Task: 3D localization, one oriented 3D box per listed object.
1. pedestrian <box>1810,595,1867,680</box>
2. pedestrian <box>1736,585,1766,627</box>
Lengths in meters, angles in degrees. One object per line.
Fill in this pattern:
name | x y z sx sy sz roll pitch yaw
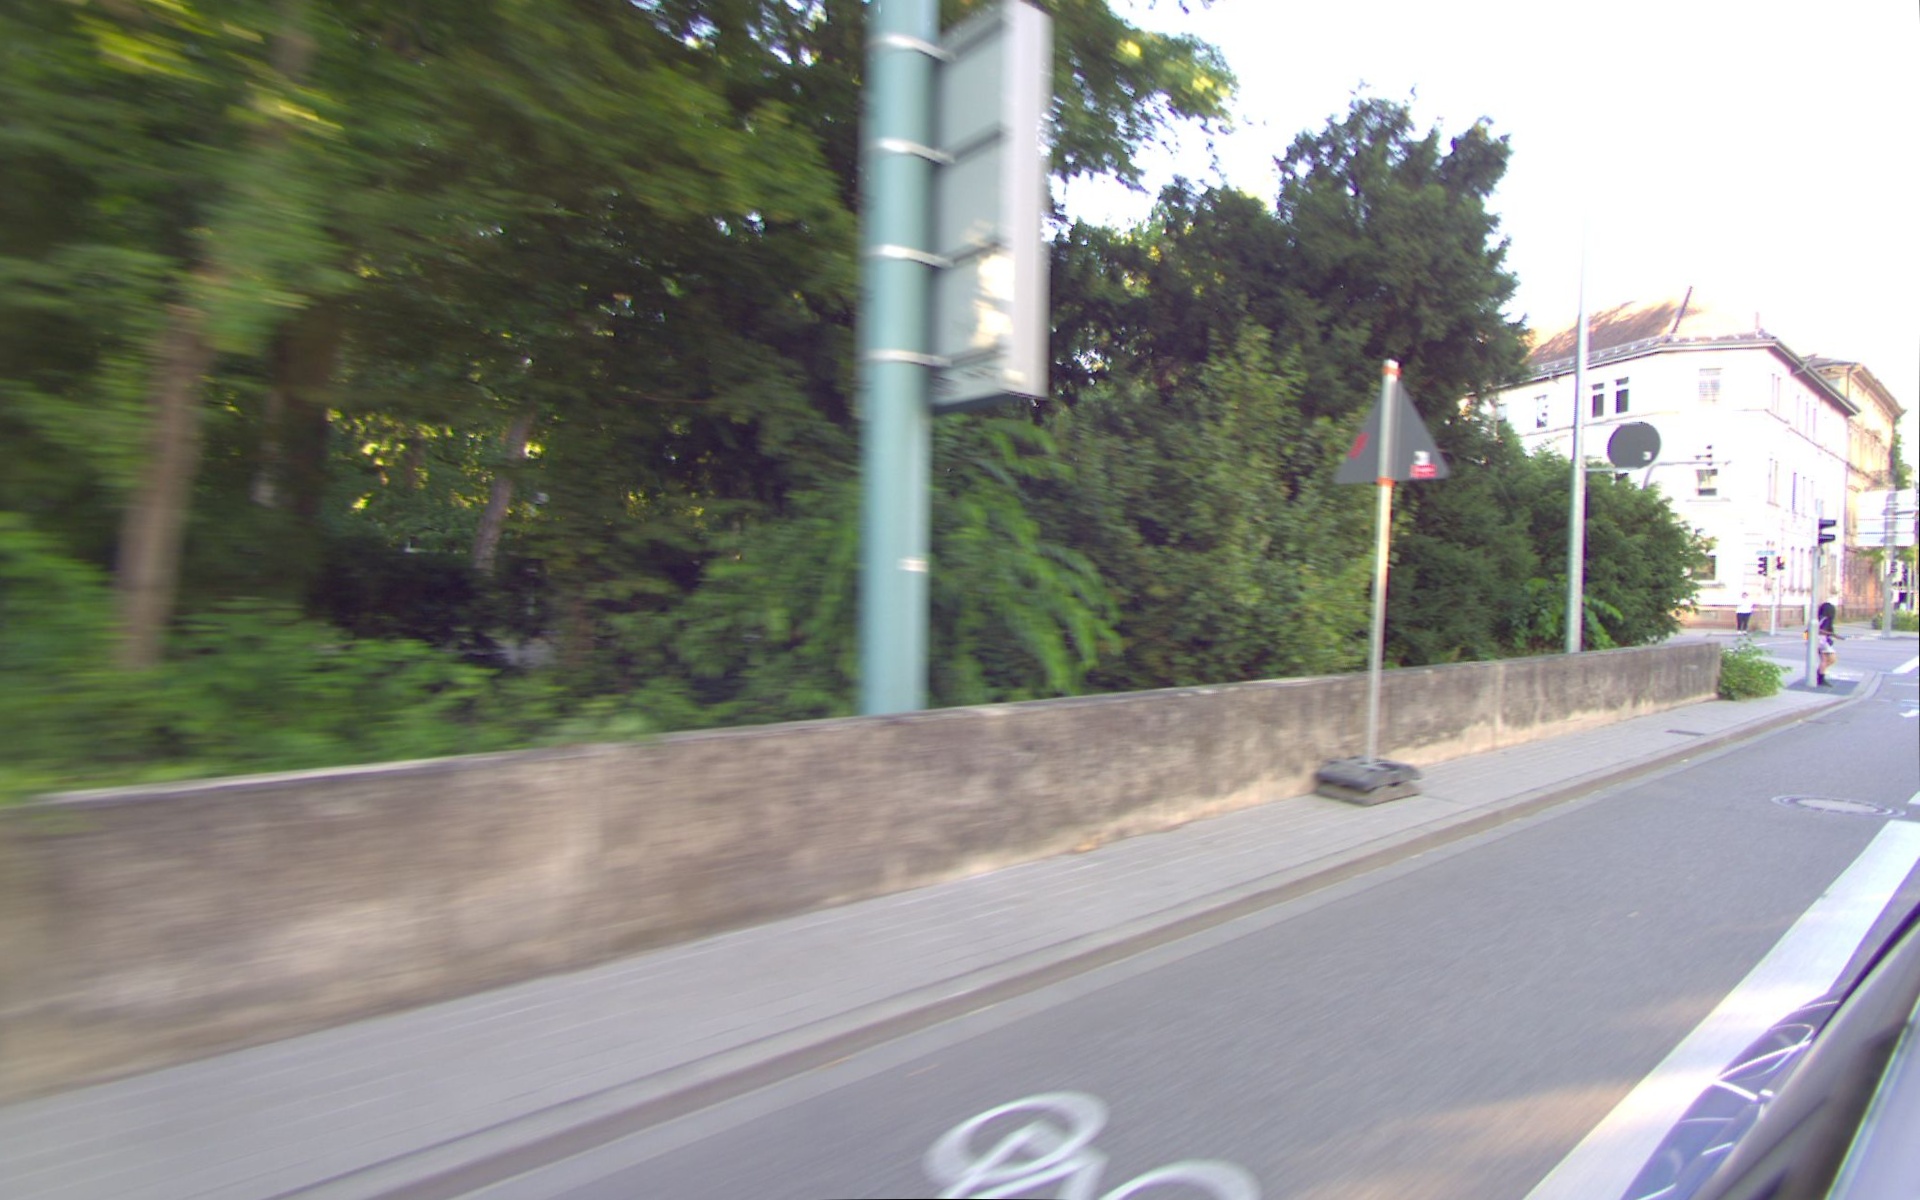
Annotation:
pedestrian | 16.411 0.680 18.903 0.607 1.522 0.581 1 3 -35
pedestrian | 32.074 0.246 41.055 0.812 1.677 0.630 2 1 30
